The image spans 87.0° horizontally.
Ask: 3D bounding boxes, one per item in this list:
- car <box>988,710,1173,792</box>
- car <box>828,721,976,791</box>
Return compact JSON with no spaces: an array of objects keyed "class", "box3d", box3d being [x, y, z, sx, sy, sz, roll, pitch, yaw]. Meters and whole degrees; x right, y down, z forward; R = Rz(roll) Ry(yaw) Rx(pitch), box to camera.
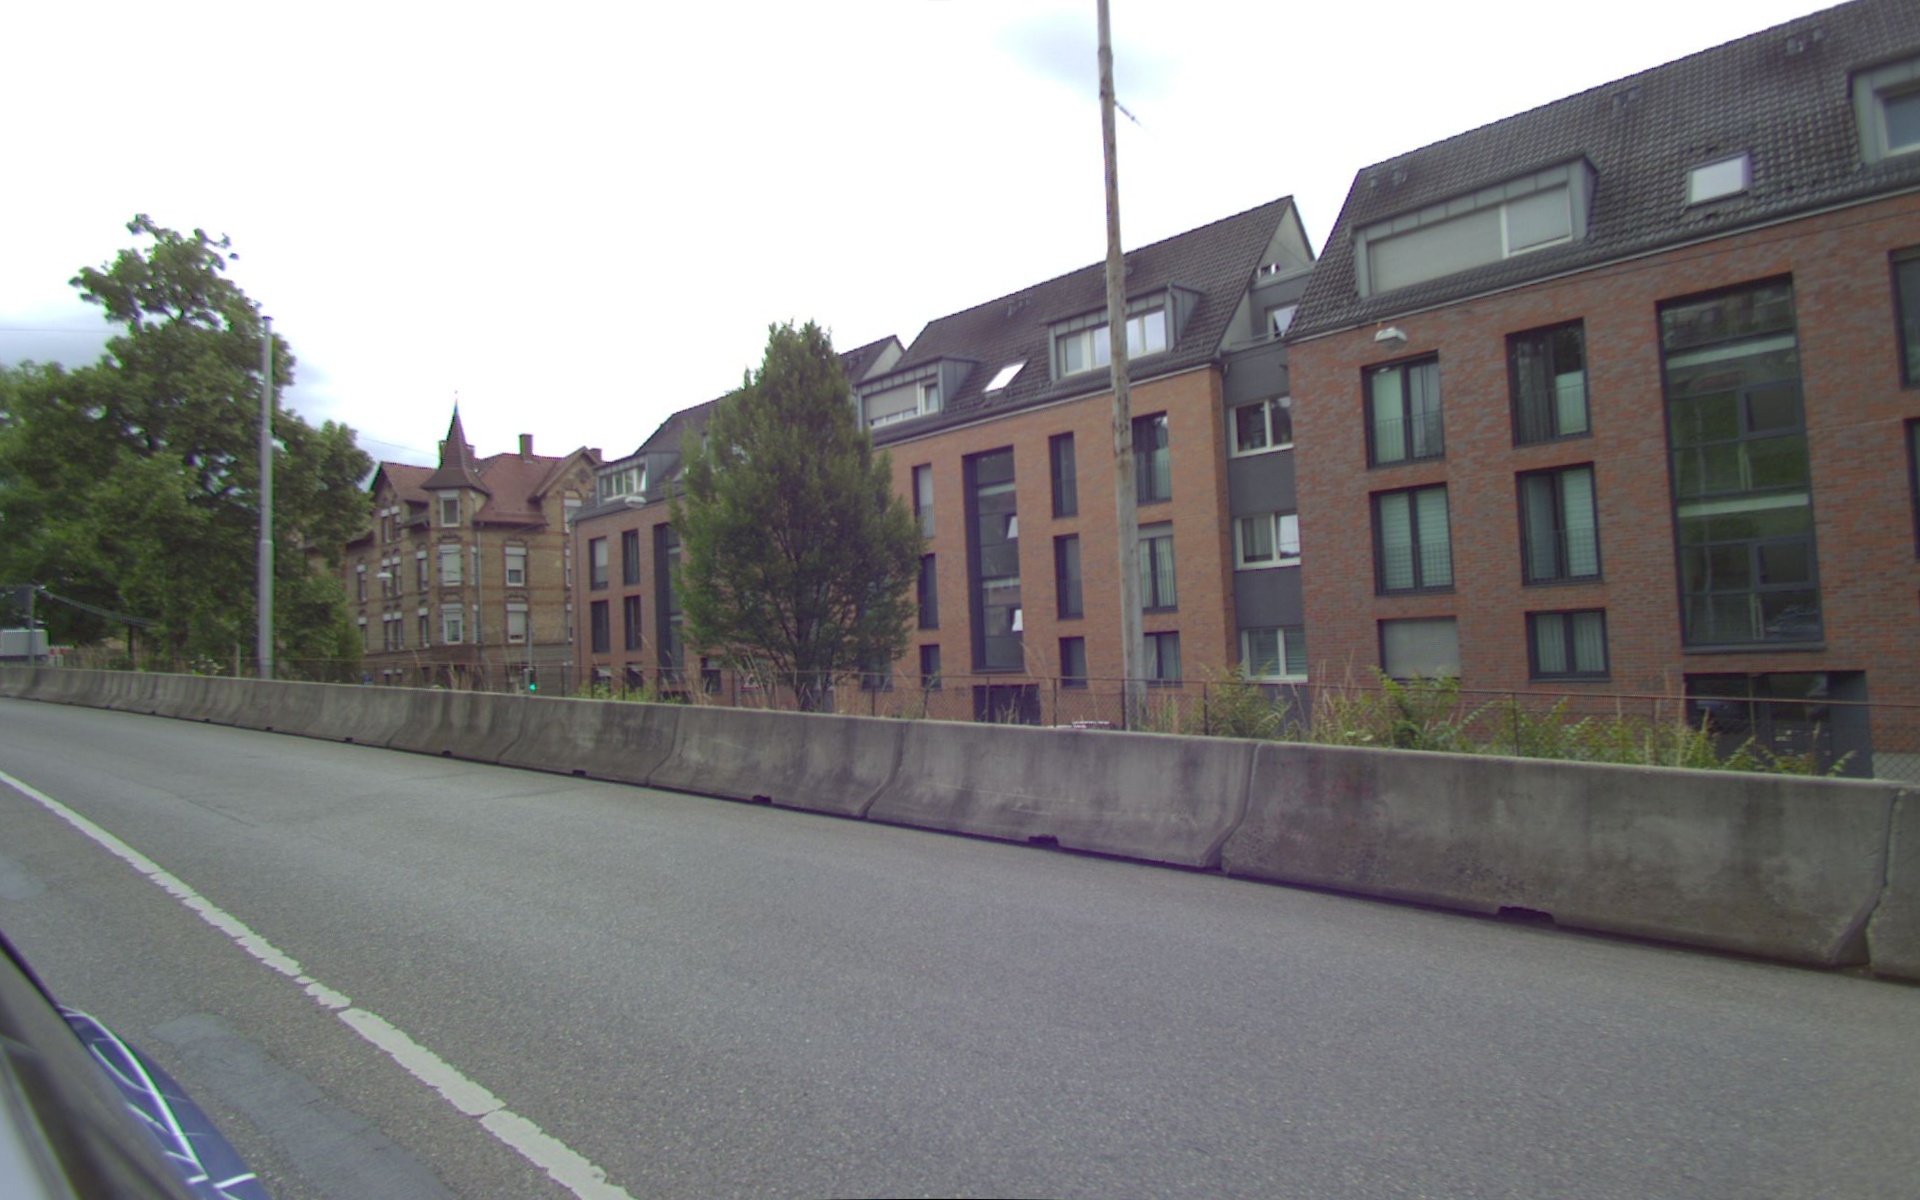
[{"class":"car","box3d":[2.731,3.427,23.504,4.000,1.522,1.774,-3,-5,43]},{"class":"car","box3d":[-1.632,4.197,27.748,4.000,1.522,1.774,-3,-5,43]}]
